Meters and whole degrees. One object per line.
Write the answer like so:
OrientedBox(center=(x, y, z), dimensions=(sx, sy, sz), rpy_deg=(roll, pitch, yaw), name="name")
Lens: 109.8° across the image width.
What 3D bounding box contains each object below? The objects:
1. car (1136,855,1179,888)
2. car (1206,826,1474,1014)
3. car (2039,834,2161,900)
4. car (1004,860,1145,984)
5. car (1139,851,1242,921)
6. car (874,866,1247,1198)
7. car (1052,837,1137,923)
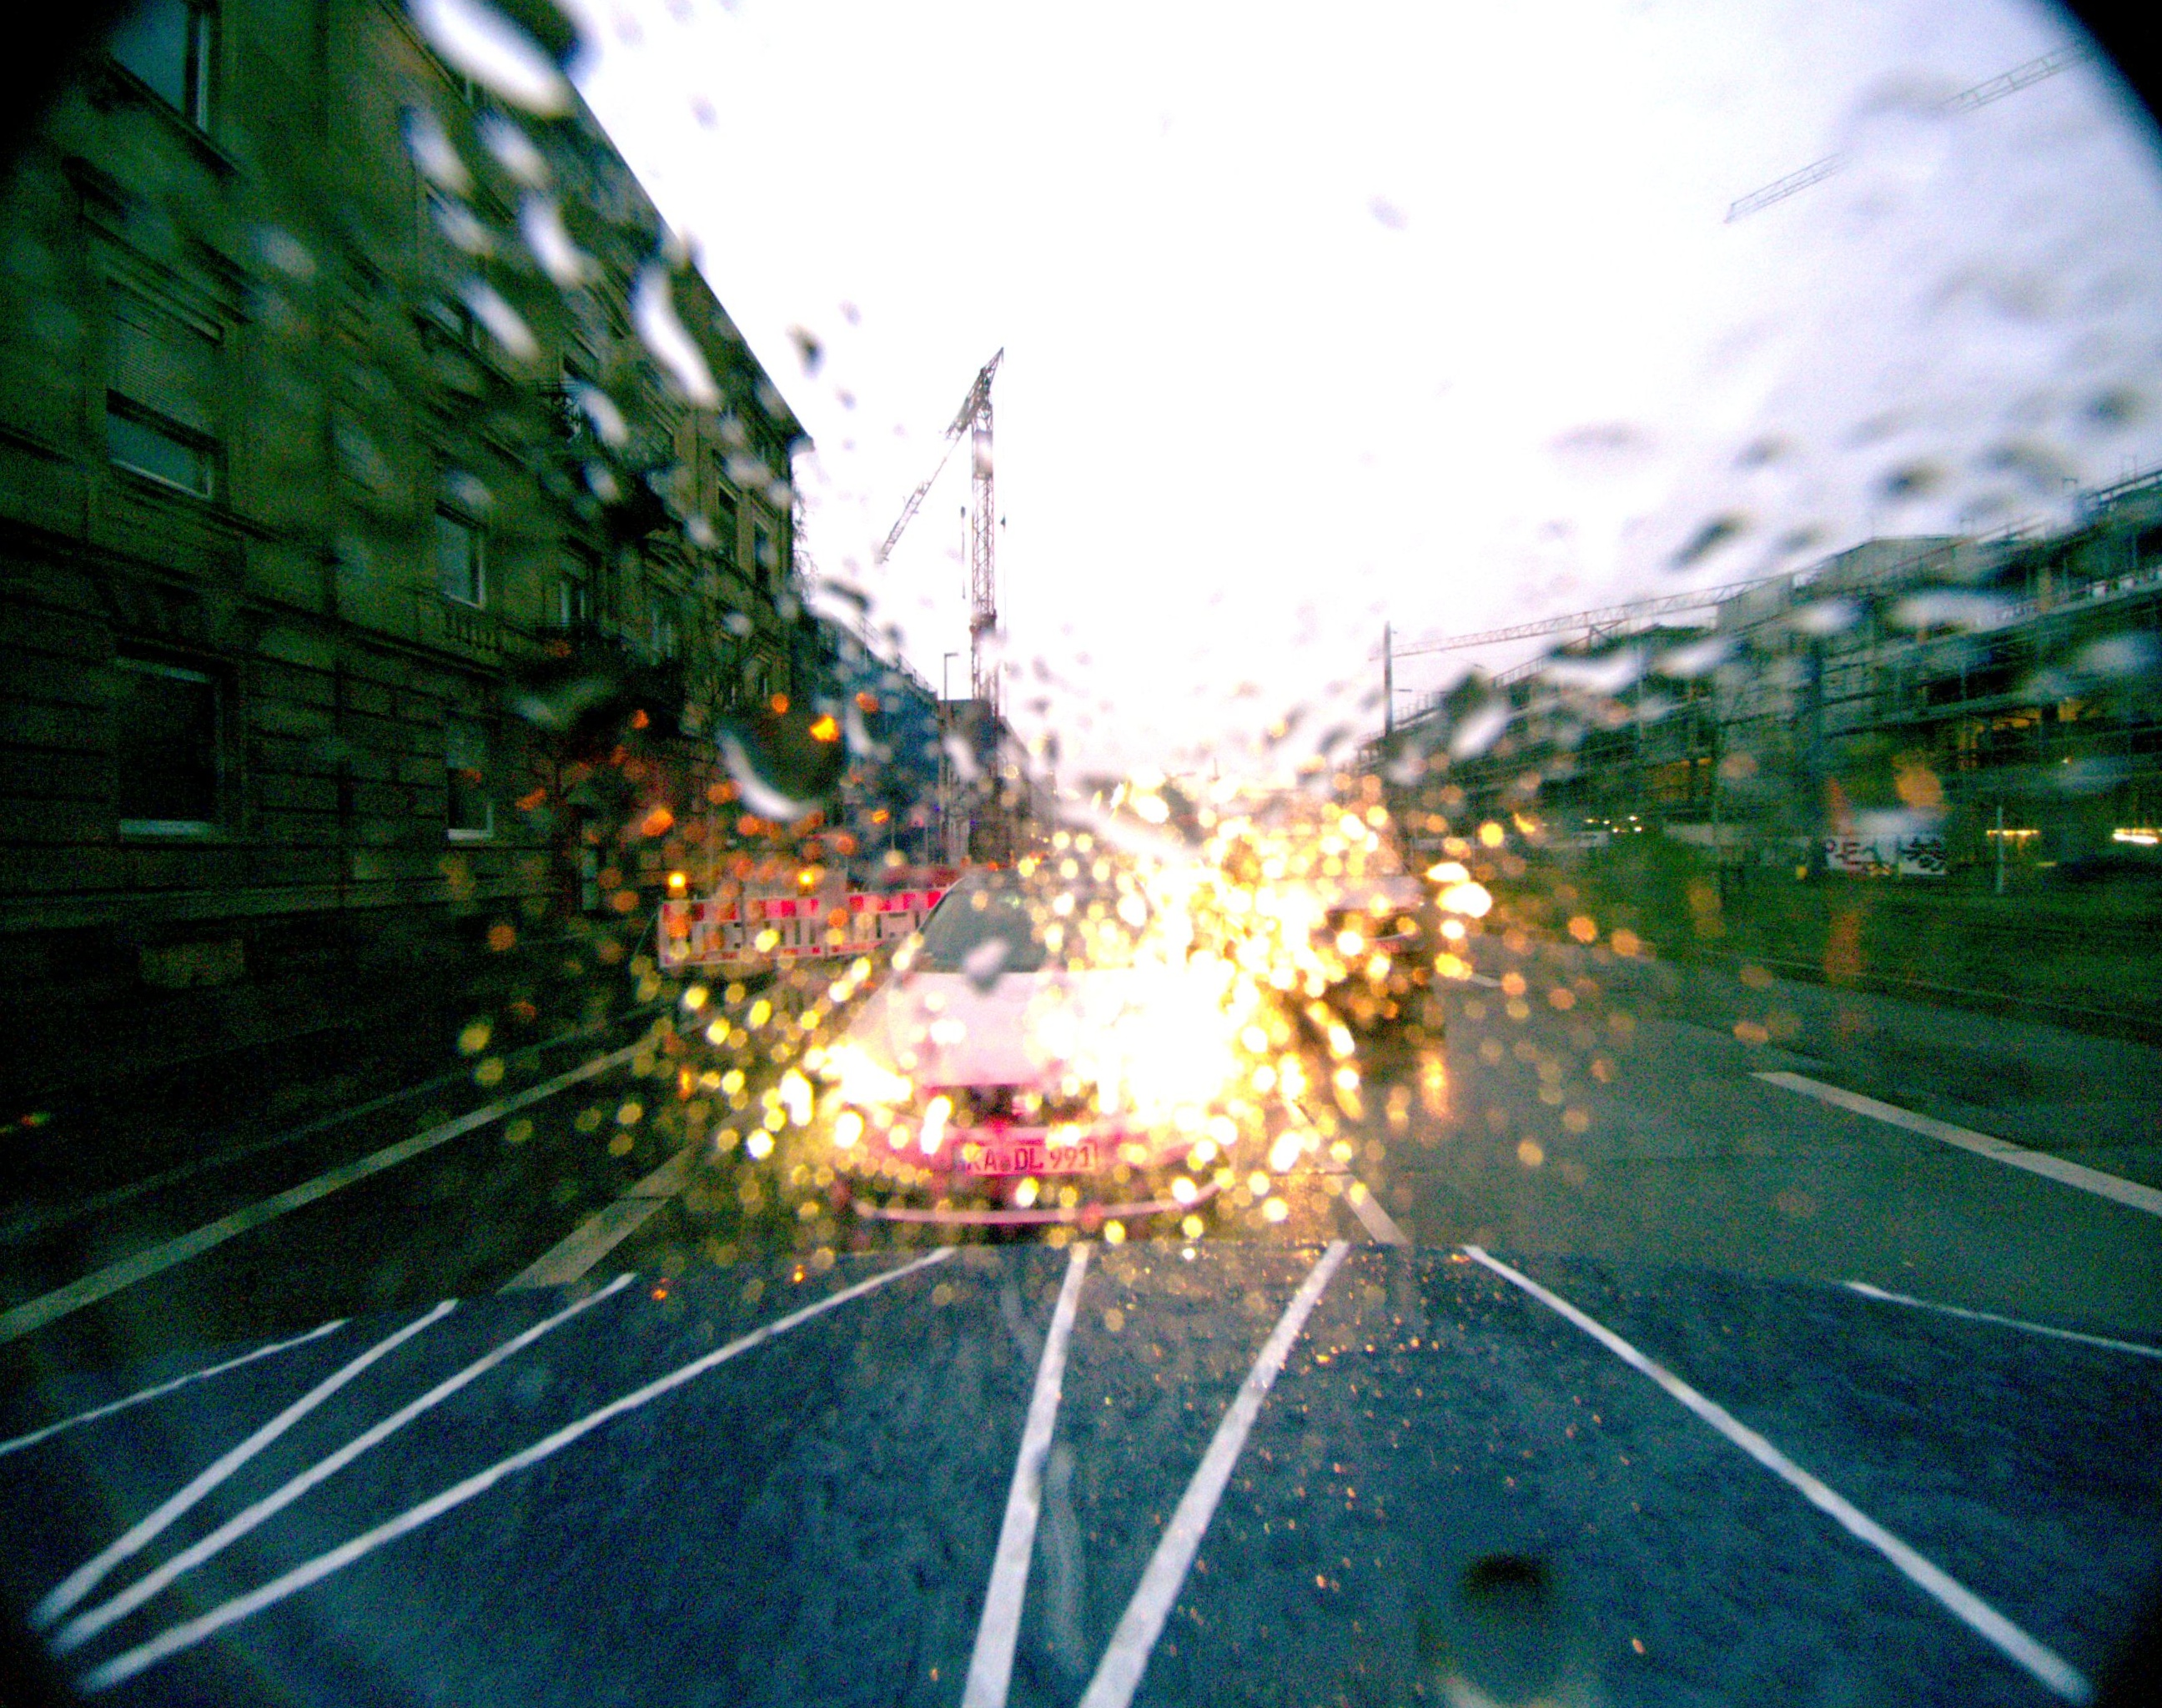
OrientedBox(center=(4.038, 0.870, 40.554), dimensions=(1.844, 1.547, 3.999), rpy_deg=(-2, 1, 0), name="car")
OrientedBox(center=(2.784, 0.606, 9.207), dimensions=(1.858, 1.723, 3.999), rpy_deg=(-2, 1, 0), name="car")
OrientedBox(center=(36.624, 0.410, 26.246), dimensions=(1.957, 2.110, 4.084), rpy_deg=(-2, 1, 3), name="car")
OrientedBox(center=(-0.122, 0.894, 11.769), dimensions=(1.764, 1.443, 3.999), rpy_deg=(-2, 1, -1), name="car")
OrientedBox(center=(2.920, 0.796, 21.210), dimensions=(1.845, 1.644, 4.321), rpy_deg=(-2, 1, -5), name="car")
OrientedBox(center=(-0.136, 0.903, 5.712), dimensions=(1.764, 1.443, 3.999), rpy_deg=(-2, 1, -1), name="car")
OrientedBox(center=(0.270, 0.571, 19.306), dimensions=(1.858, 1.886, 3.999), rpy_deg=(-2, 1, -1), name="car")
